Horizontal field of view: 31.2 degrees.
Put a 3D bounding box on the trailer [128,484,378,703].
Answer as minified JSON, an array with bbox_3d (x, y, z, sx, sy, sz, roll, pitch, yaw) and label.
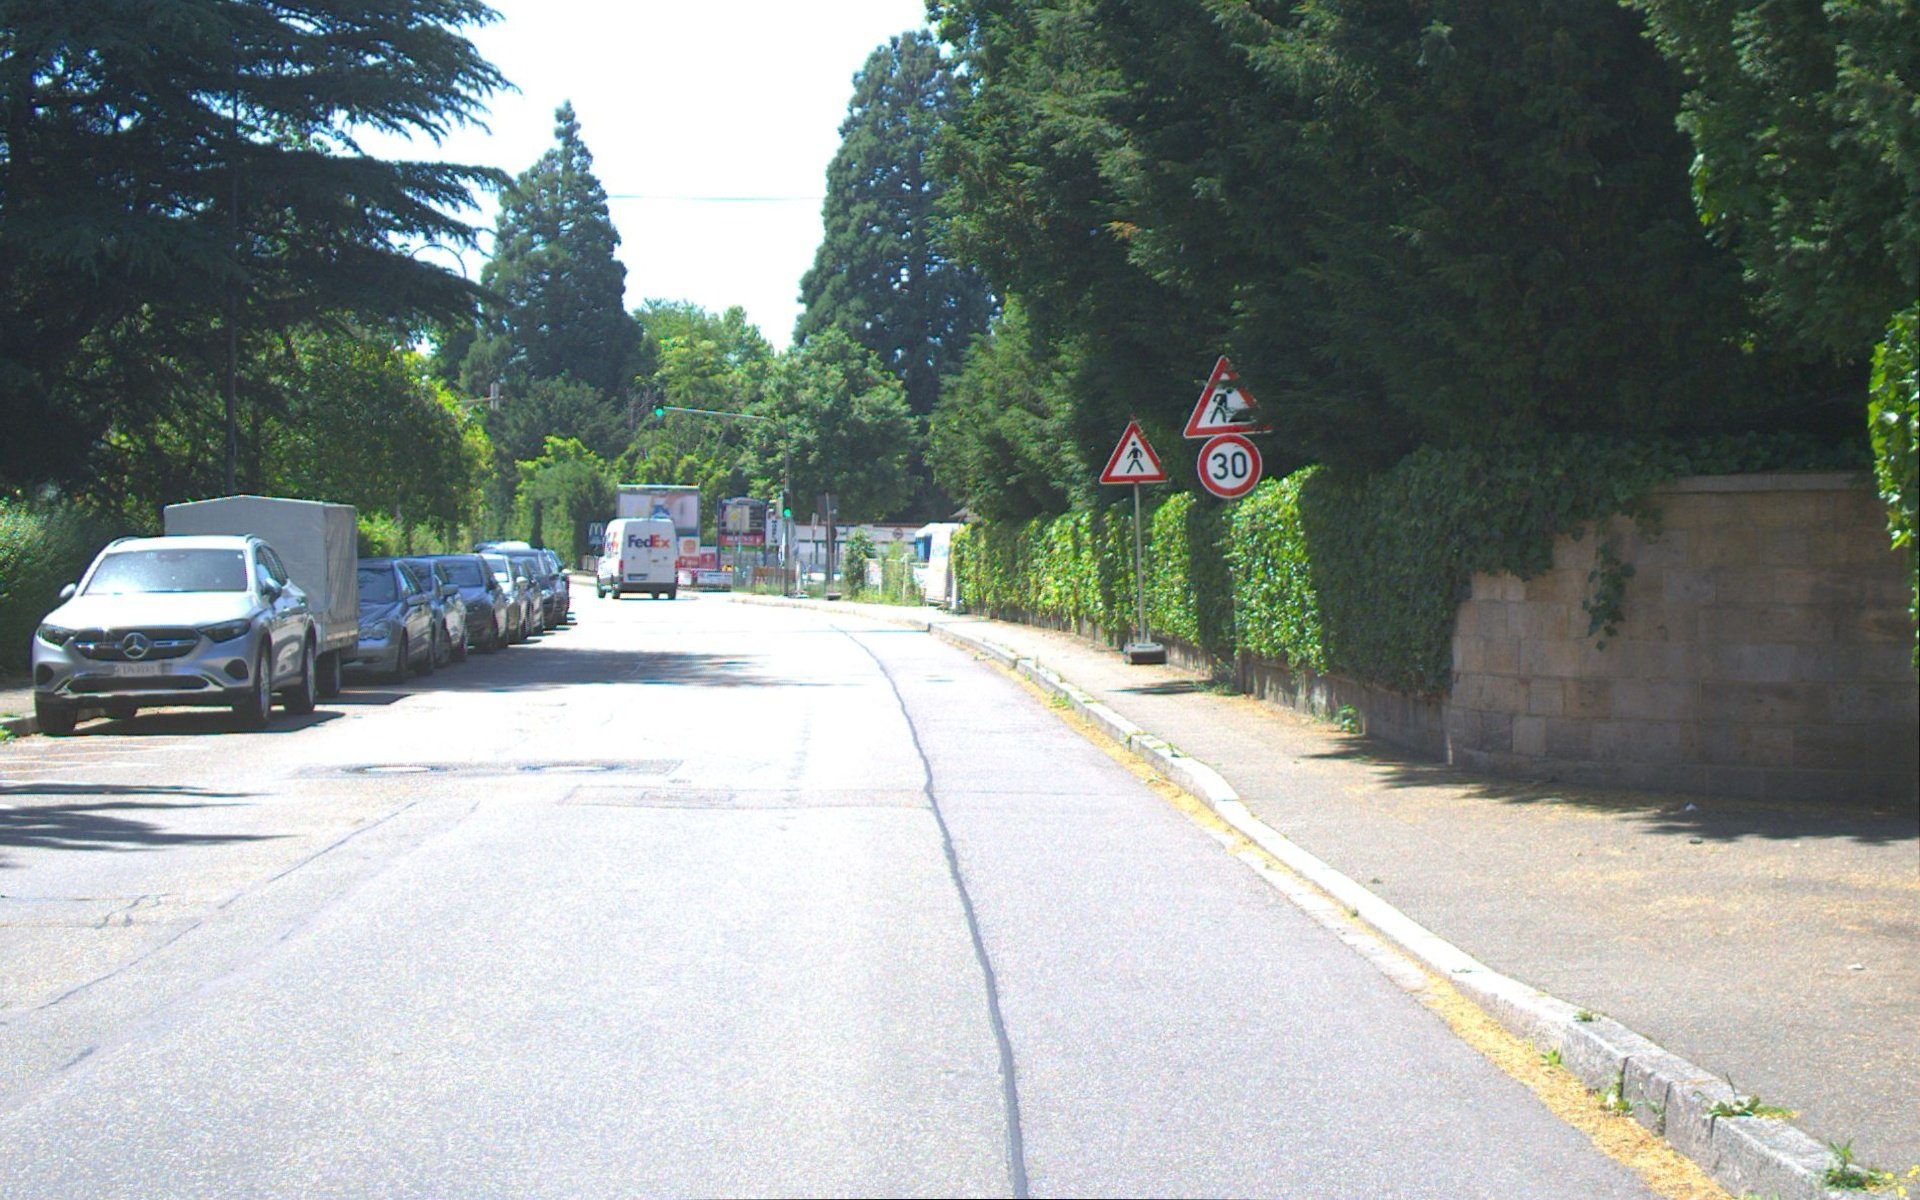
[{"bbox_3d":[-7.049,-0.090,34.650,1.847,2.033,4.164,-1,1,-3],"label":"trailer"}]

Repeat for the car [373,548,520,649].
[{"bbox_3d":[-7.676,-0.056,51.718,1.688,1.439,4.136,0,1,-1],"label":"car"}]

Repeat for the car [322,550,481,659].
[{"bbox_3d":[-7.397,0.039,45.827,1.582,1.385,3.883,0,1,-1],"label":"car"}]

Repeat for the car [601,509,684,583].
[{"bbox_3d":[-10.226,-1.740,110.433,2.143,2.307,4.854,-1,1,-11],"label":"car"}]

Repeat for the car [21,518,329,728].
[{"bbox_3d":[-6.791,0.156,30.217,1.850,1.665,4.713,-1,1,-3],"label":"car"}]

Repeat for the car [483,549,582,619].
[{"bbox_3d":[-9.006,-0.351,72.659,1.688,1.439,4.136,0,1,-1],"label":"car"}]

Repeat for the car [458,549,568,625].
[{"bbox_3d":[-8.698,-0.277,67.149,1.688,1.439,4.136,0,1,-1],"label":"car"}]

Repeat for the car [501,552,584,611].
[{"bbox_3d":[-10.433,-0.486,86.130,1.688,1.439,4.136,0,1,-1],"label":"car"}]

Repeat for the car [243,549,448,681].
[{"bbox_3d":[-7.158,0.135,40.402,1.709,1.434,4.322,-1,1,-1],"label":"car"}]

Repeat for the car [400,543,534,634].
[{"bbox_3d":[-8.044,-0.210,56.346,1.688,1.439,4.136,0,1,-1],"label":"car"}]
